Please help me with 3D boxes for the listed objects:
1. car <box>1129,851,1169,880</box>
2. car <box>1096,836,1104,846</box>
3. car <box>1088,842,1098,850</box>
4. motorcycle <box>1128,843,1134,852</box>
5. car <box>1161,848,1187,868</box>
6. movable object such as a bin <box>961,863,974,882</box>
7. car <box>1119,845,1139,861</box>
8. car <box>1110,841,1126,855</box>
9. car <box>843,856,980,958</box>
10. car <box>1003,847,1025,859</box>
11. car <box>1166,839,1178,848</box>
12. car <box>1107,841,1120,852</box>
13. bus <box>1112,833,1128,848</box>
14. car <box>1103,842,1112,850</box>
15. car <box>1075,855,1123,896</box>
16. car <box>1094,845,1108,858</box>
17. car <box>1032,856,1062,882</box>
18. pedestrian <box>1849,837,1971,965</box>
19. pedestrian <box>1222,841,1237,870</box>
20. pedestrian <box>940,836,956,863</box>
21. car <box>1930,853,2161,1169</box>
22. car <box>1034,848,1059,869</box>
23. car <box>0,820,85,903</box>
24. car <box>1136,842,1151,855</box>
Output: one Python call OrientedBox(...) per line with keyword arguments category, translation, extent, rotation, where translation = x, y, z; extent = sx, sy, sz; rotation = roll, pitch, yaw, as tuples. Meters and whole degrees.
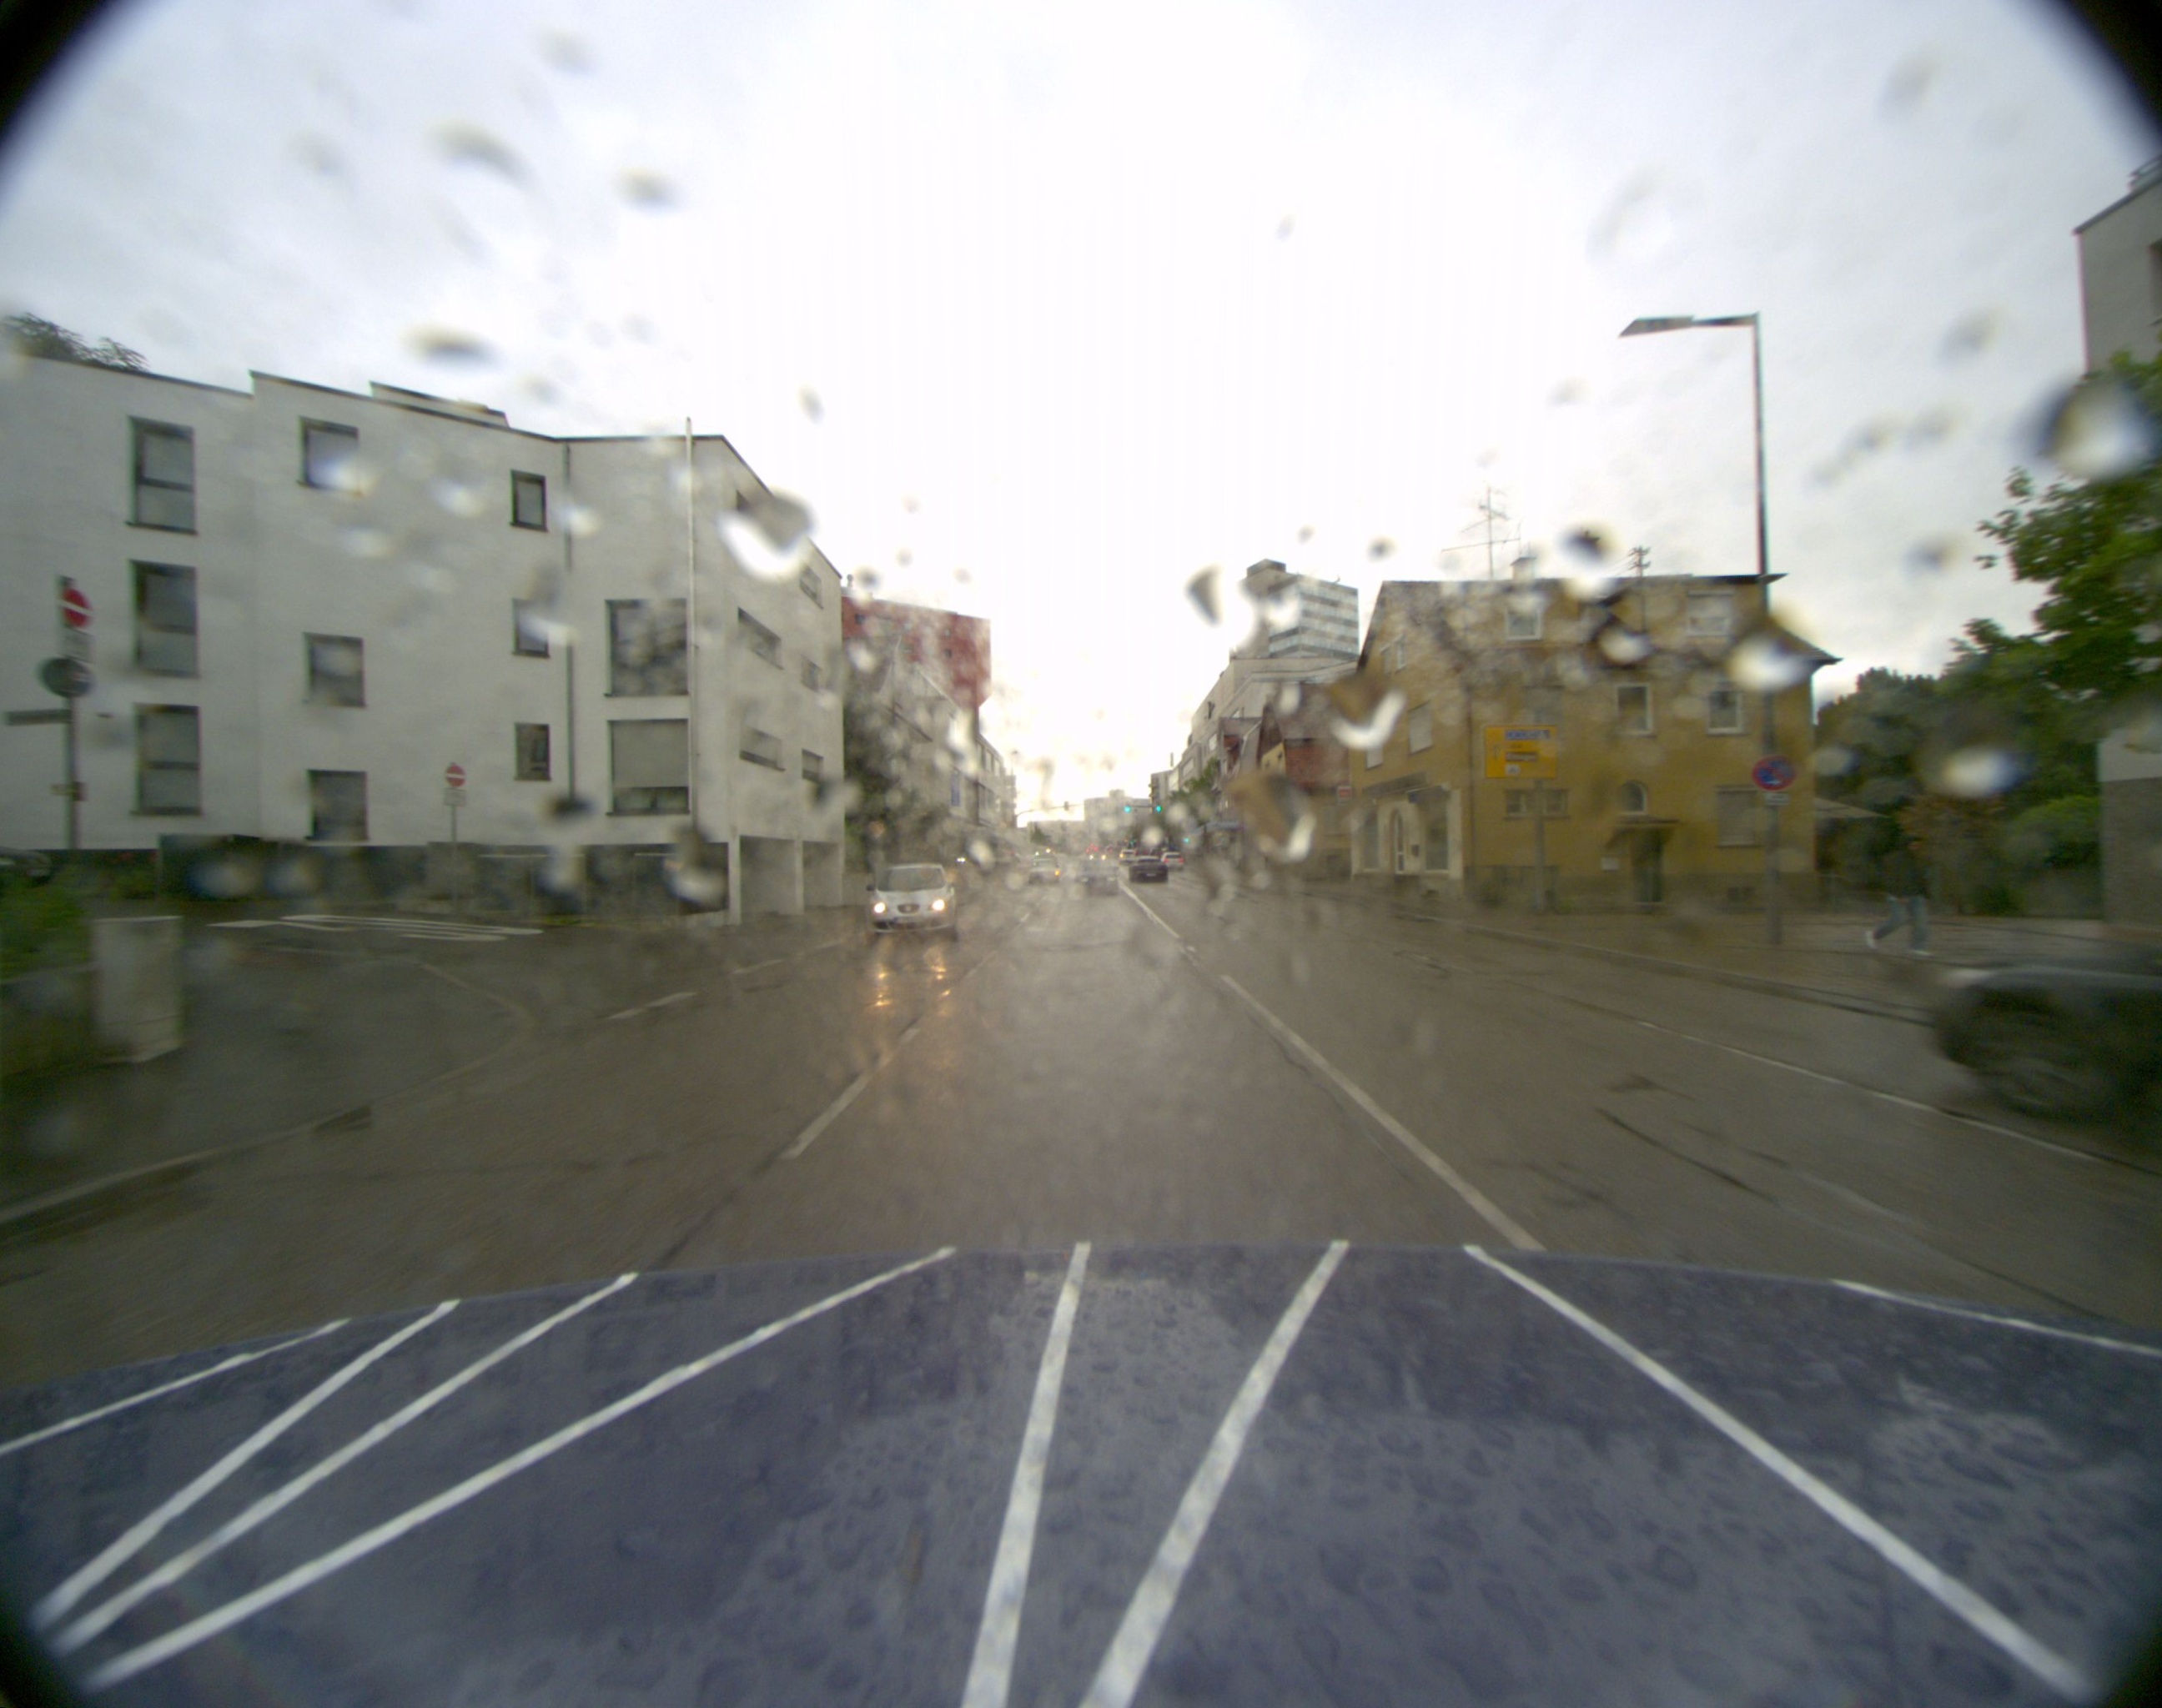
OrientedBox(category="car", translation=(3.723, 0.590, 42.240), extent=(1.772, 1.406, 4.524), rotation=(-1, 2, 0))
OrientedBox(category="car", translation=(4.082, -2.755, 162.229), extent=(1.637, 2.002, 4.284), rotation=(0, 2, 1))
OrientedBox(category="car", translation=(2.155, -1.467, 139.734), extent=(1.711, 1.508, 4.391), rotation=(0, 2, 2))
OrientedBox(category="motorcycle", translation=(8.012, -1.062, 122.500), extent=(0.910, 1.276, 2.184), rotation=(-1, 2, 1))
OrientedBox(category="car", translation=(7.471, 0.301, 61.533), extent=(1.653, 1.410, 4.137), rotation=(2, 2, 1))
OrientedBox(category="movable object such as a bin", translation=(-6.207, 1.002, 41.641), extent=(0.577, 1.042, 0.830), rotation=(0, 0, 0))
OrientedBox(category="car", translation=(5.293, -0.168, 84.718), extent=(1.883, 1.600, 4.717), rotation=(-1, 2, 0))
OrientedBox(category="car", translation=(5.283, -0.927, 109.610), extent=(1.971, 1.927, 5.177), rotation=(-1, 2, -2))
OrientedBox(category="car", translation=(-3.415, 0.992, 16.249), extent=(2.017, 1.613, 4.358), rotation=(-2, 3, -2))
OrientedBox(category="car", translation=(-8.549, -0.114, 96.684), extent=(1.618, 1.454, 3.415), rotation=(-2, 2, -29))
OrientedBox(category="car", translation=(16.421, -1.890, 136.702), extent=(1.757, 1.402, 3.729), rotation=(0, 2, 1))
OrientedBox(category="car", translation=(5.454, -1.227, 126.843), extent=(2.103, 1.702, 4.849), rotation=(0, 2, 3))
OrientedBox(category="bus", translation=(8.020, -2.833, 156.525), extent=(2.899, 3.082, 11.996), rotation=(0, 2, 1))
OrientedBox(category="car", translation=(4.832, -1.485, 139.364), extent=(1.762, 1.426, 4.379), rotation=(0, 2, 2))
OrientedBox(category="car", translation=(0.680, 0.825, 30.508), extent=(1.688, 1.373, 3.792), rotation=(-2, 2, -2))
OrientedBox(category="car", translation=(2.465, -0.307, 93.738), extent=(1.719, 1.442, 4.197), rotation=(0, 2, 2))
OrientedBox(category="car", translation=(-1.936, 0.838, 44.084), extent=(1.662, 1.300, 3.993), rotation=(-1, 2, -2))
OrientedBox(category="pedestrian", translation=(12.073, 0.646, 11.092), extent=(0.803, 1.778, 0.881), rotation=(-1, 2, -11))
OrientedBox(category="pedestrian", translation=(10.107, 0.068, 51.700), extent=(0.663, 1.910, 0.946), rotation=(-3, 2, -7))
OrientedBox(category="pedestrian", translation=(-8.795, -0.278, 50.402), extent=(0.730, 1.770, 0.953), rotation=(-1, 0, 8))
OrientedBox(category="car", translation=(6.236, 0.814, 2.635), extent=(1.885, 1.515, 4.183), rotation=(-1, 2, 0))
OrientedBox(category="car", translation=(-2.930, 0.343, 64.108), extent=(2.059, 1.638, 4.477), rotation=(-1, 2, -3))
OrientedBox(category="car", translation=(-19.595, 0.072, 12.279), extent=(3.844, 1.310, 1.772), rotation=(1, 3, -31))
OrientedBox(category="car", translation=(8.764, -0.803, 106.780), extent=(2.005, 1.608, 4.948), rotation=(0, 2, 4))
